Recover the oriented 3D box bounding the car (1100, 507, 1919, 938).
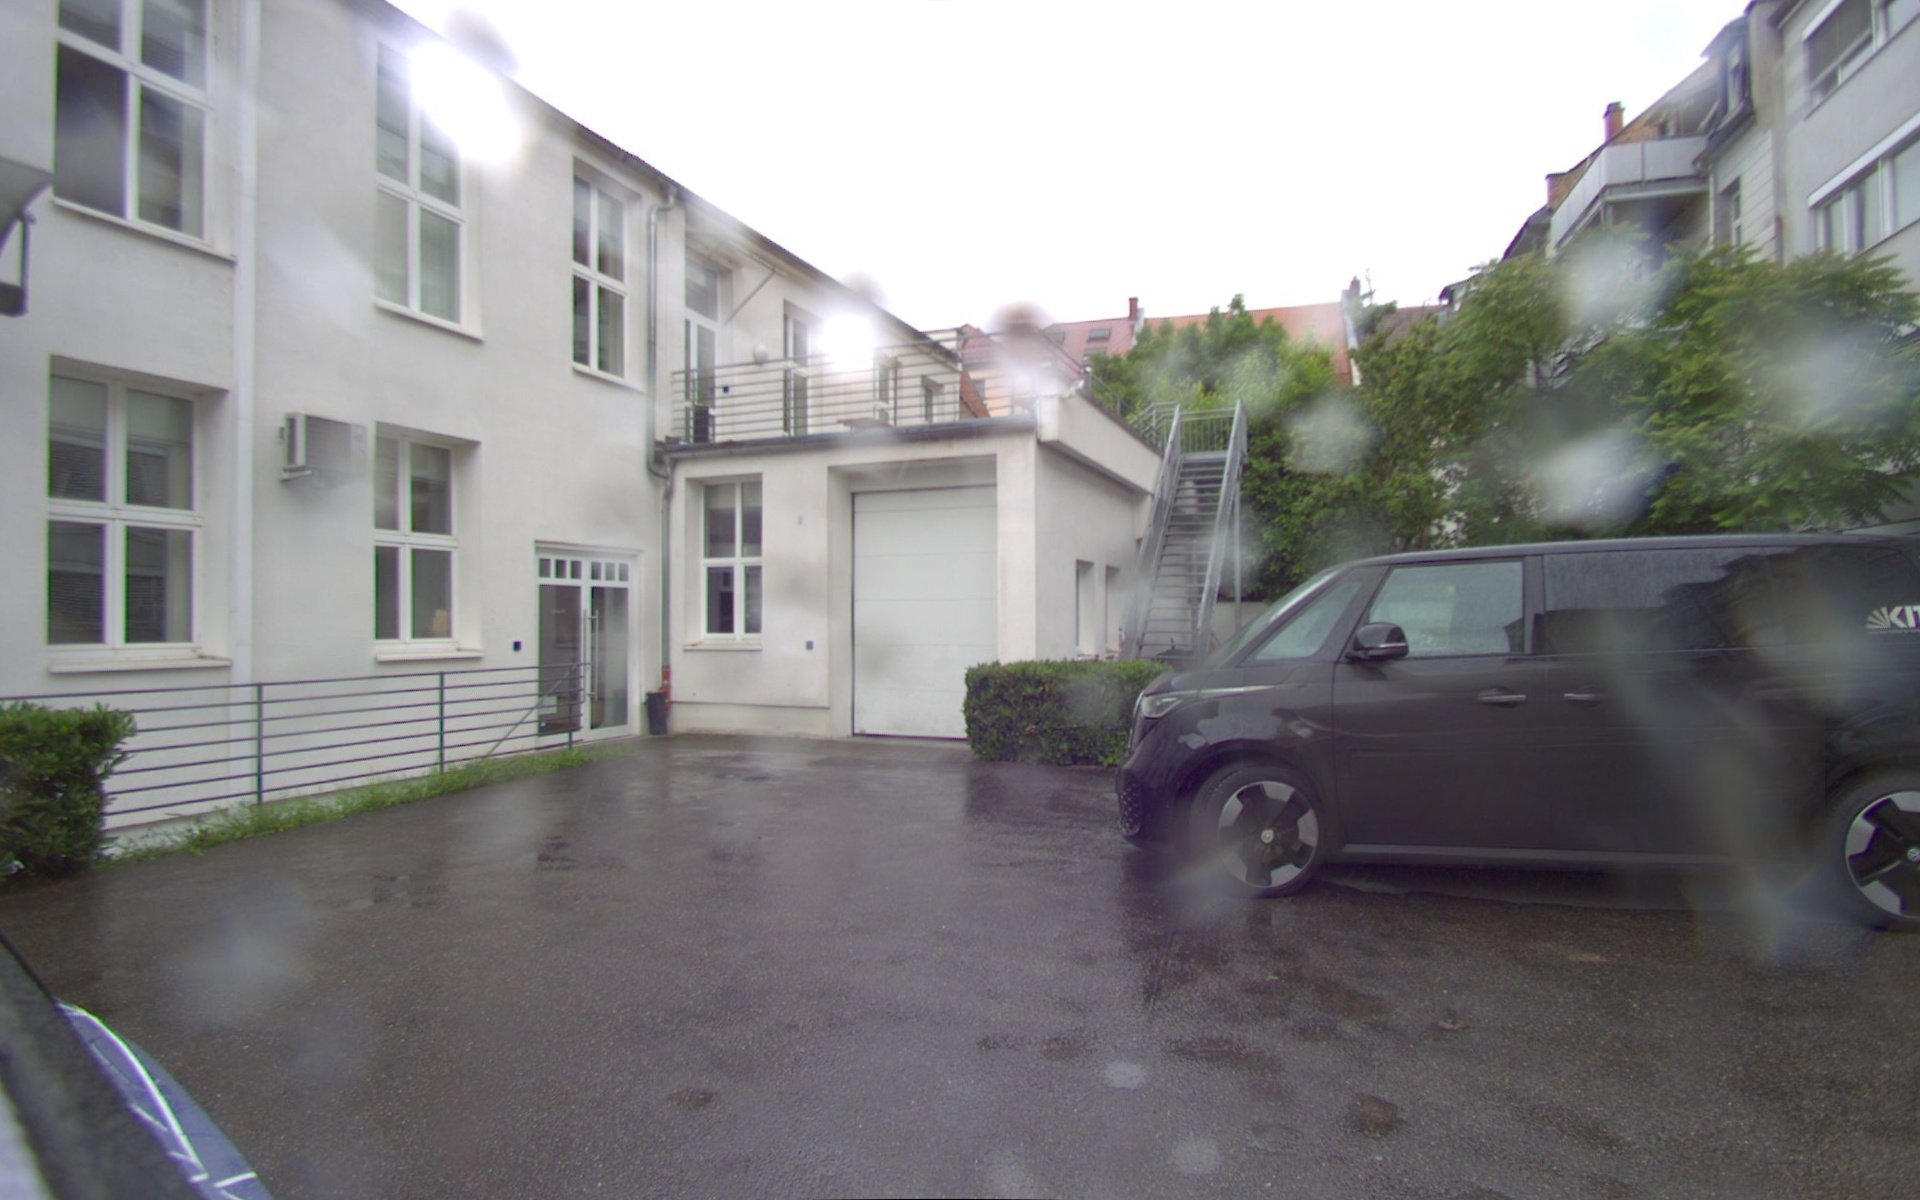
[{"bbox_3d":[3.172,0.596,5.846,4.480,1.912,2.037,-1,-2,15],"label":"car"}]
